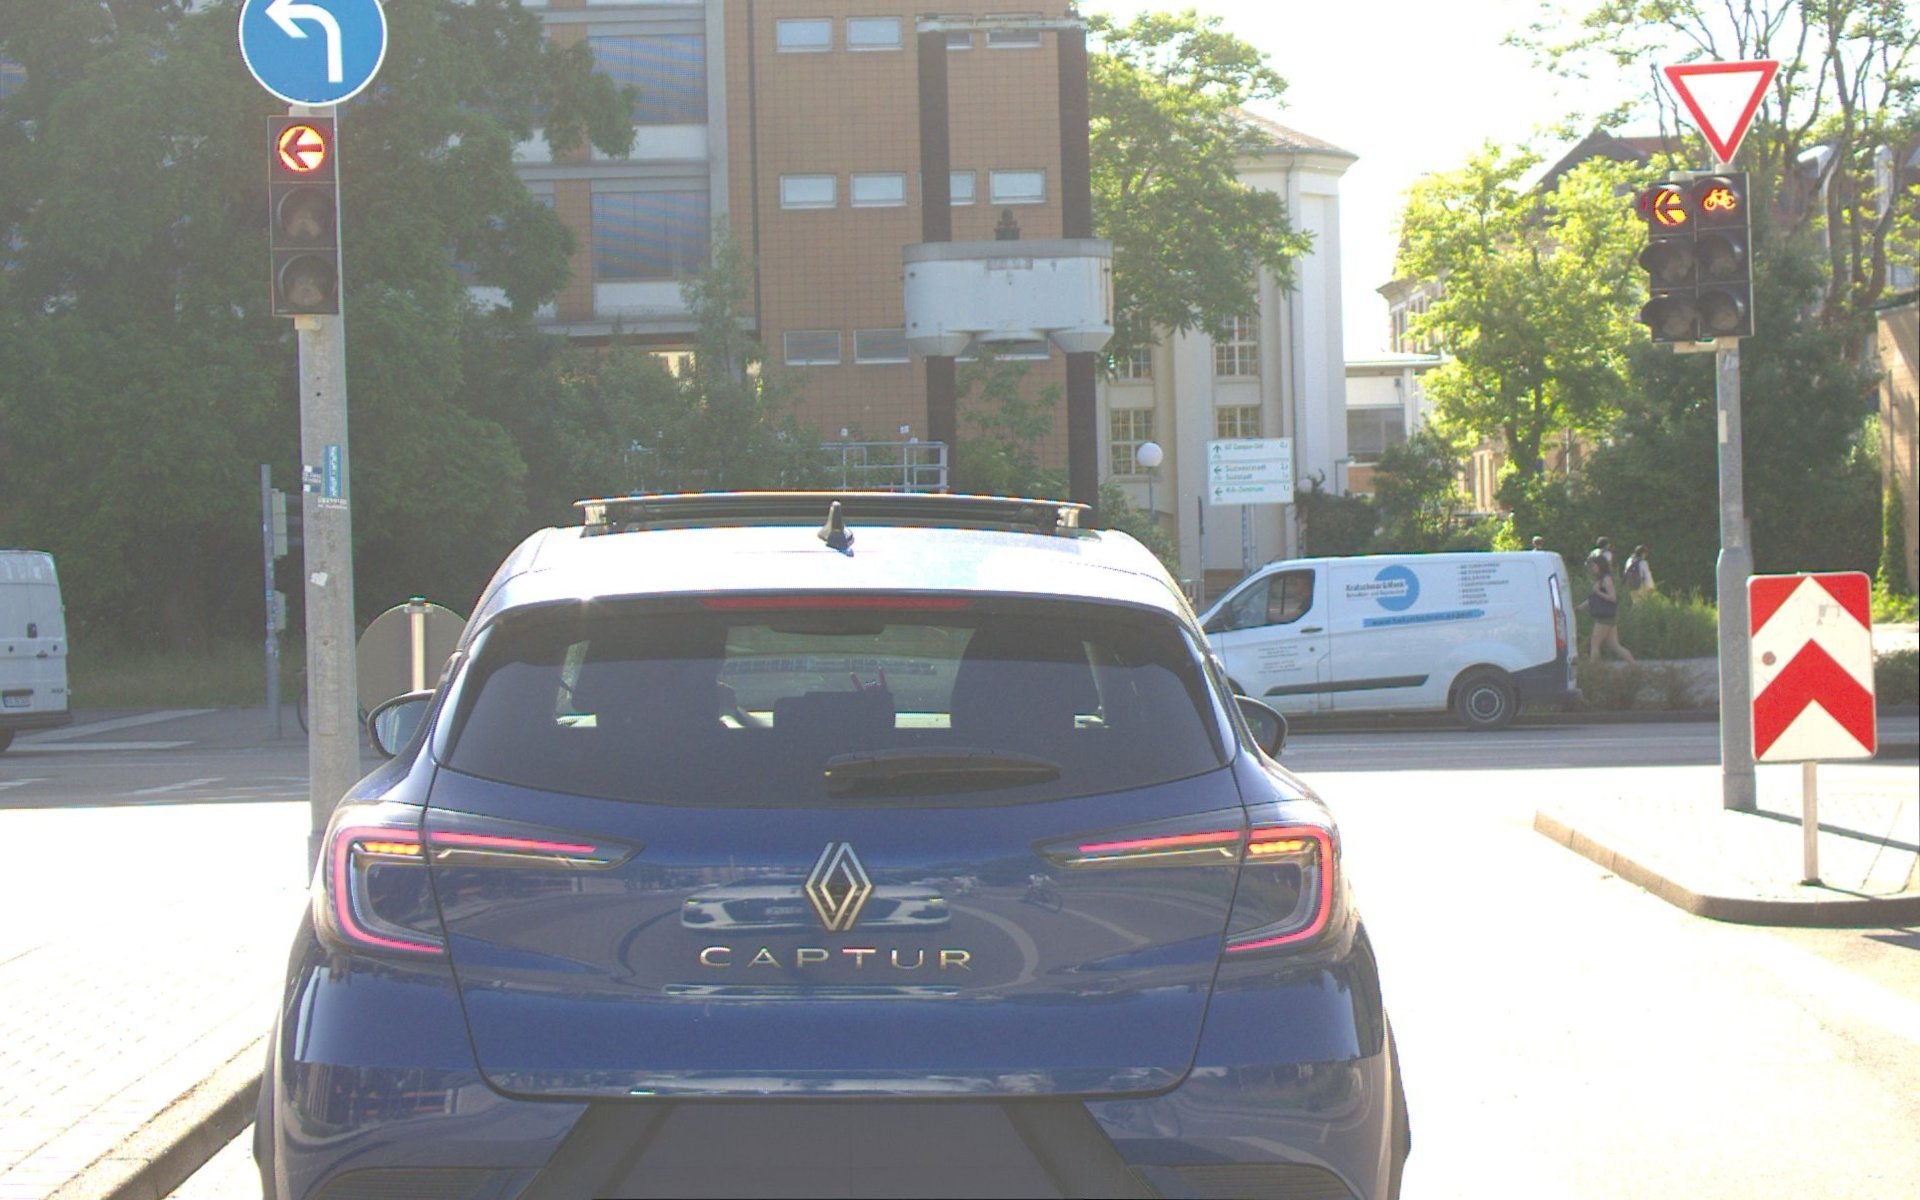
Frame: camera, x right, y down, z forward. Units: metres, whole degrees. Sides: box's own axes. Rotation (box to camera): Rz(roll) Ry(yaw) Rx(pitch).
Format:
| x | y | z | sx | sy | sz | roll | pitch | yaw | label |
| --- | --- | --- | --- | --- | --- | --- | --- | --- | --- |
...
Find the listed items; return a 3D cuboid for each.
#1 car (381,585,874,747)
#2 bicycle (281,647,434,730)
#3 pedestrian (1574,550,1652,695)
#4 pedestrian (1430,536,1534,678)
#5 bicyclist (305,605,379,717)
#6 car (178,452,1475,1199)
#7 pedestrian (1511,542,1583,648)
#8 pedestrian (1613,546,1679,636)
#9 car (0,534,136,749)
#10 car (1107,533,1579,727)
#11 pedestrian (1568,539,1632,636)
| x | y | z | sx | sy | sz | roll | pitch | yaw | label |
| --- | --- | --- | --- | --- | --- | --- | --- | --- | --- |
| -3.502 | 0.694 | 36.695 | 4.844 | 1.576 | 2.101 | -1 | 1 | 9 | car |
| -7.769 | 1.140 | 44.362 | 0.700 | 1.004 | 1.863 | -4 | -3 | 43 | bicycle |
| 8.509 | 0.284 | 44.805 | 0.932 | 1.849 | 0.807 | -1 | 1 | 9 | pedestrian |
| 6.974 | 0.086 | 45.923 | 1.298 | 1.849 | 0.965 | -1 | 1 | 11 | pedestrian |
| -7.944 | 0.784 | 44.206 | 0.648 | 1.407 | 0.637 | -3 | -2 | 43 | bicyclist |
| -0.236 | 0.588 | 6.705 | 1.794 | 1.649 | 3.853 | 0 | 1 | -2 | car |
| 11.301 | -0.109 | 66.230 | 1.156 | 2.007 | 1.164 | -1 | 1 | 0 | pedestrian |
| 12.466 | -0.168 | 62.476 | 0.936 | 1.607 | 1.176 | -1 | 1 | 0 | pedestrian |
| -14.191 | 0.519 | 42.934 | 6.940 | 2.538 | 3.011 | -1 | 1 | 16 | car |
| 4.283 | 0.318 | 38.115 | 5.001 | 2.007 | 2.071 | -1 | 1 | 11 | car |
| 11.748 | -0.232 | 63.166 | 0.953 | 1.735 | 0.984 | -1 | 1 | 0 | pedestrian |
